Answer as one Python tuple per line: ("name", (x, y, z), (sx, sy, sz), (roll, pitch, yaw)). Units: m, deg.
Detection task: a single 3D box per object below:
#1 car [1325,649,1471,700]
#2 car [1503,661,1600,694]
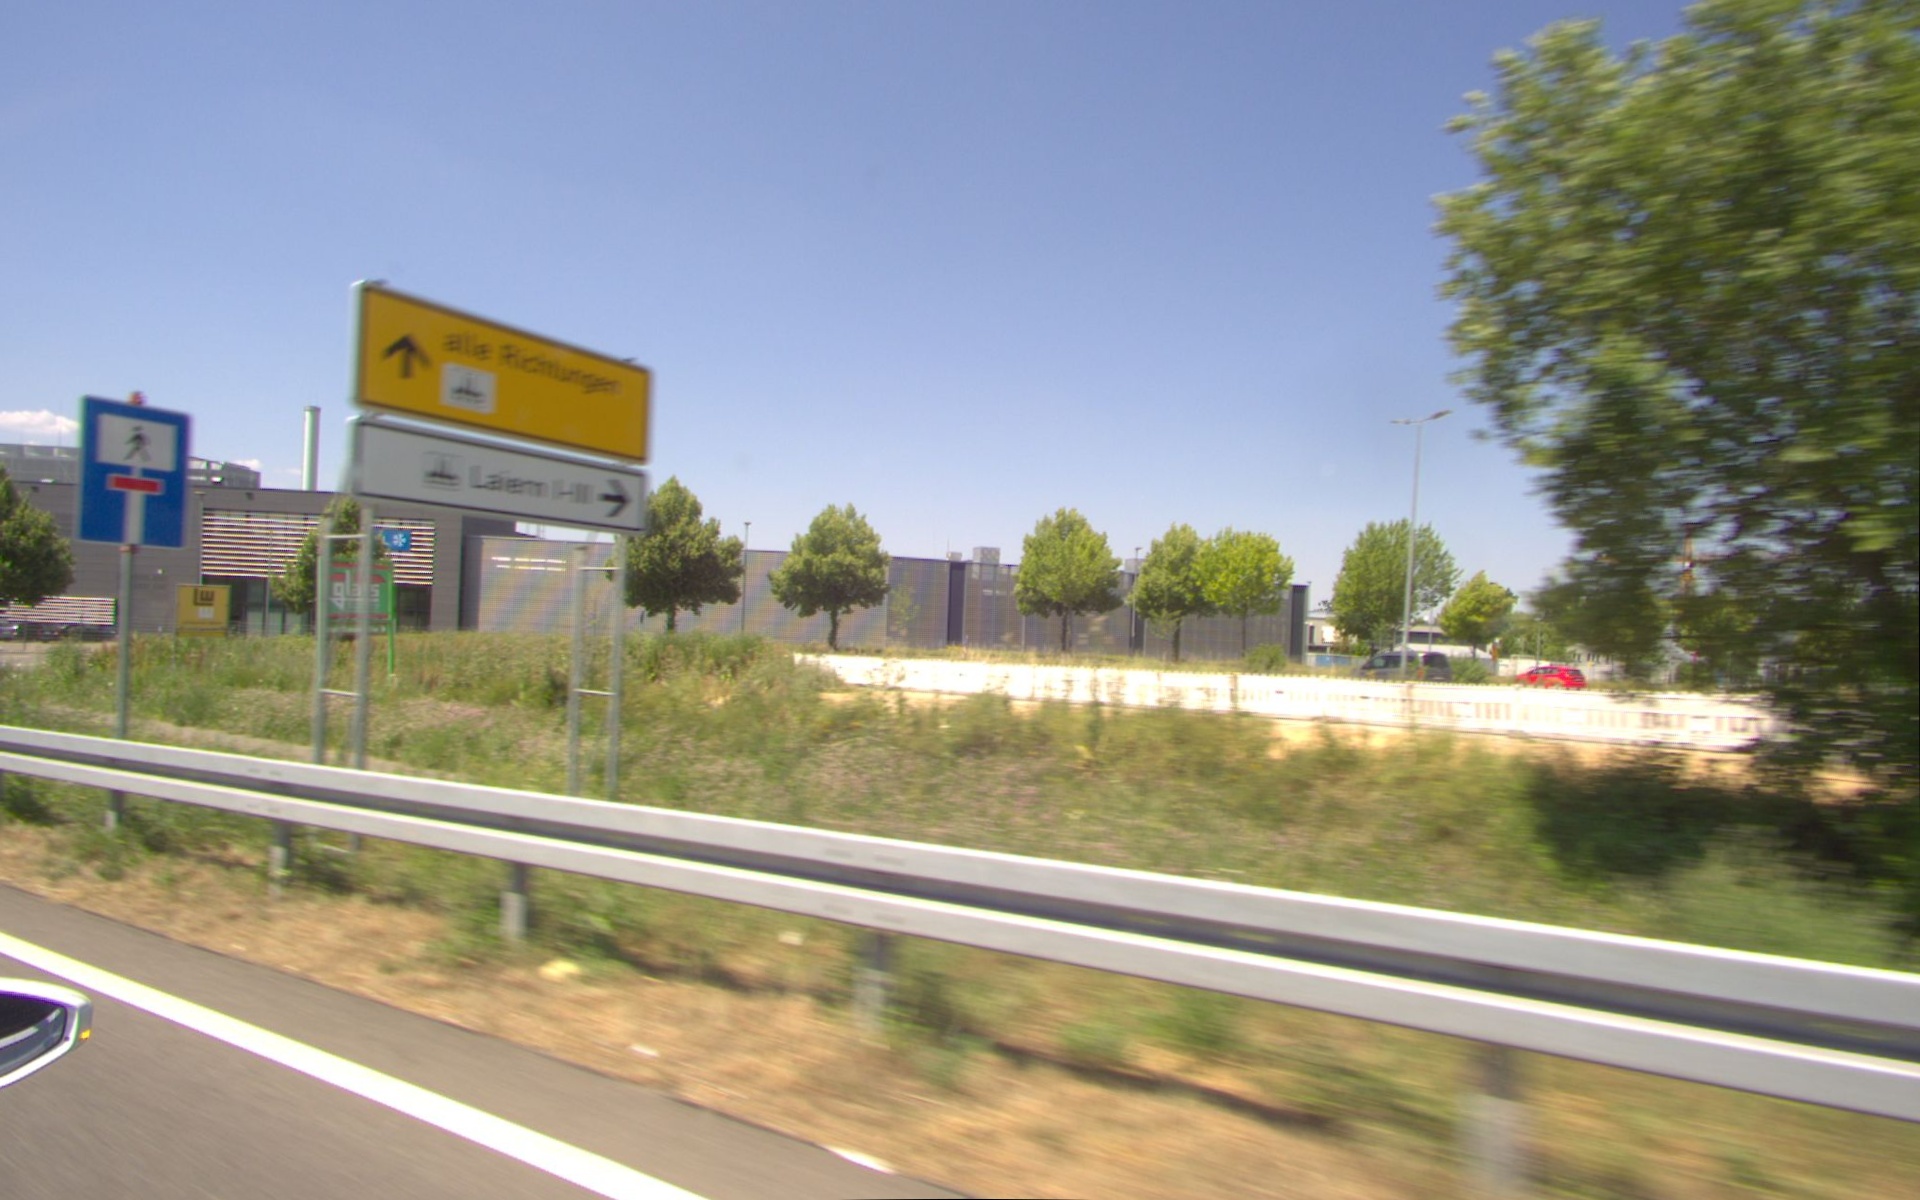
("car", (17.234, 2.905, 39.756), (2.069, 1.838, 5.327), (2, -3, -24))
("car", (33.389, 4.366, 56.679), (2.065, 1.706, 4.535), (2, -3, -16))
